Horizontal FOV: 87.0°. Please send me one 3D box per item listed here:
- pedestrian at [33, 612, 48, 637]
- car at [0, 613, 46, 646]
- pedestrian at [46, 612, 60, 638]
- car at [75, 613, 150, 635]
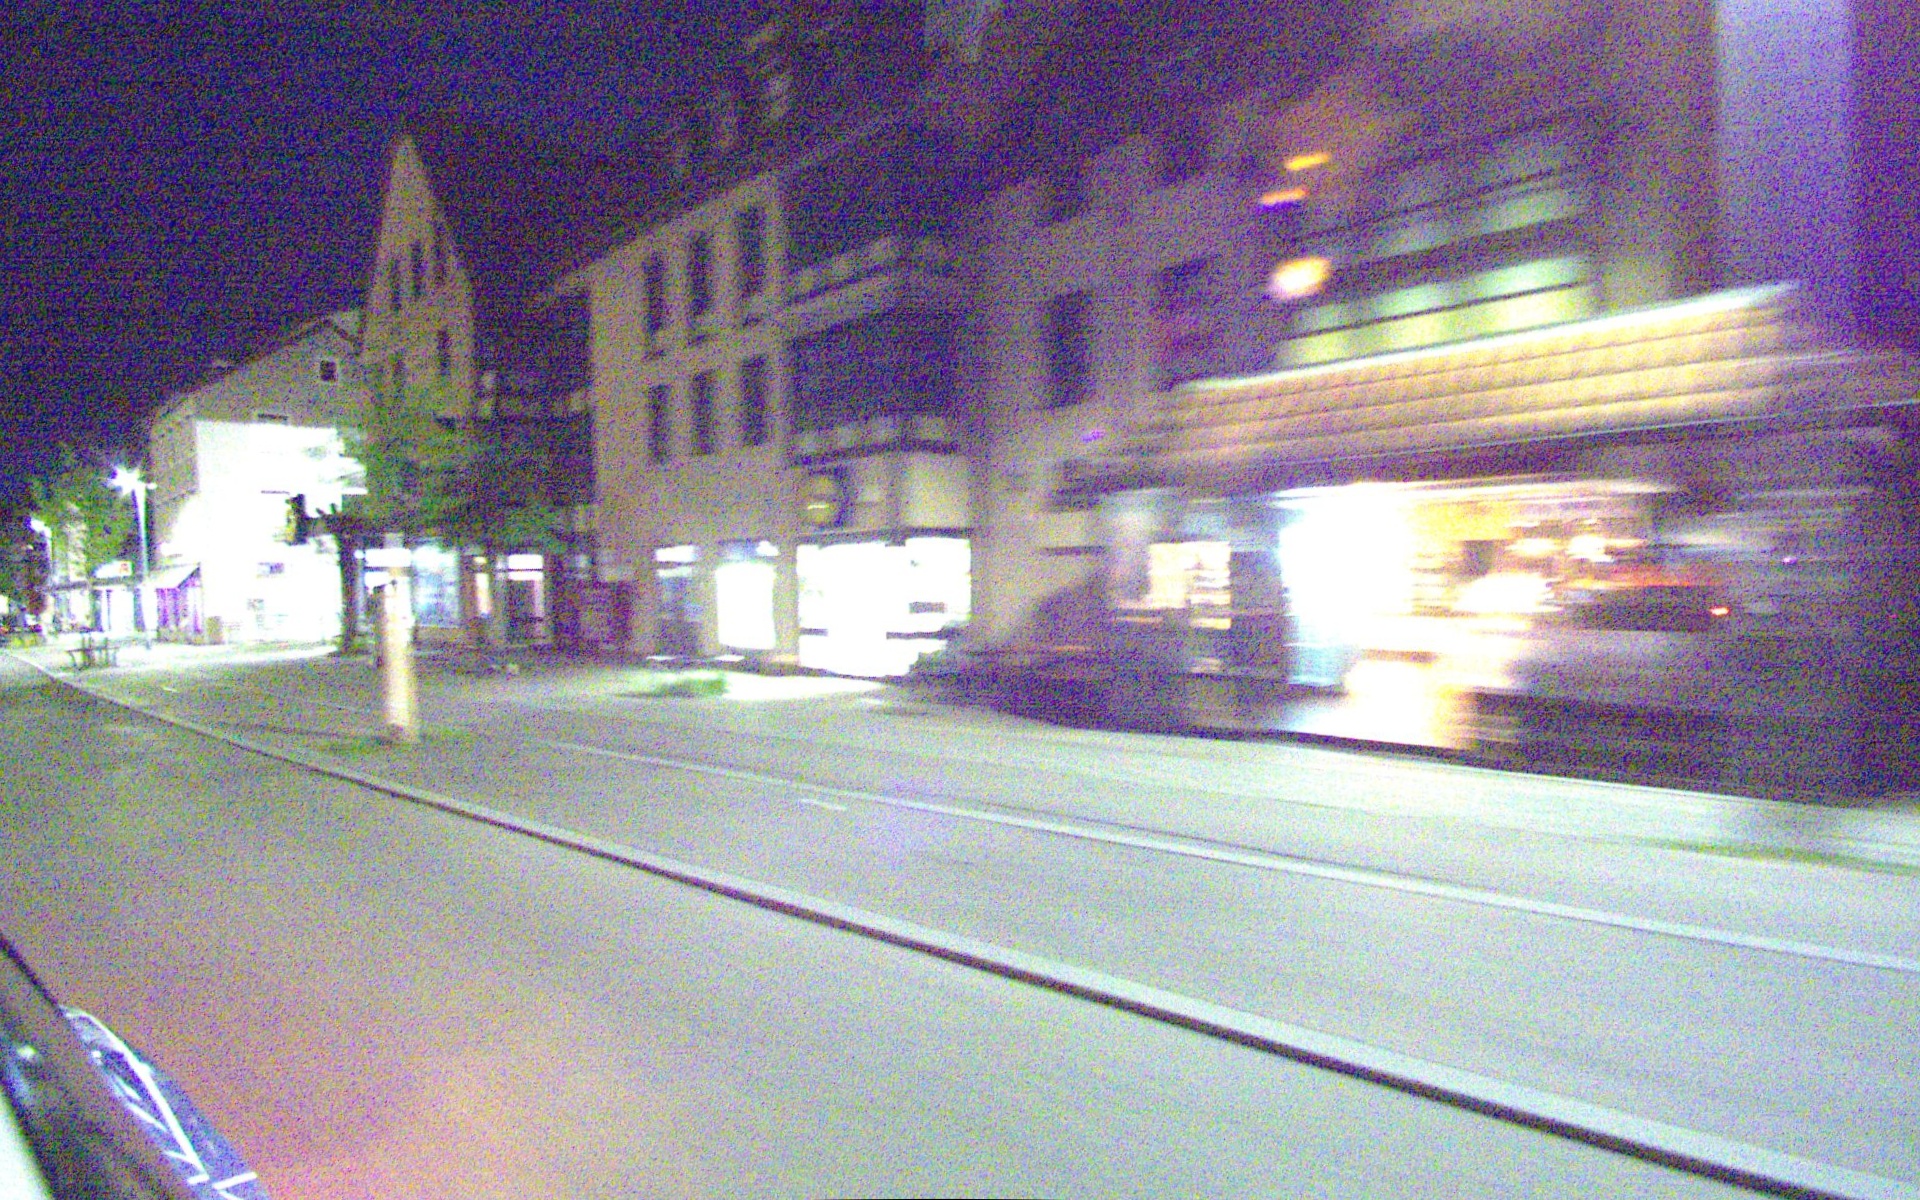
[{"bbox_3d":[-58.625,1.547,64.520,0.664,1.600,0.523,-1,0,34],"label":"pedestrian"},{"bbox_3d":[-45.085,1.403,48.100,4.929,1.430,1.876,-1,2,42],"label":"car"},{"bbox_3d":[-58.198,1.595,64.948,0.664,1.600,0.523,-1,0,34],"label":"pedestrian"},{"bbox_3d":[-58.606,1.620,70.005,1.652,1.427,3.782,-1,0,42],"label":"car"}]
